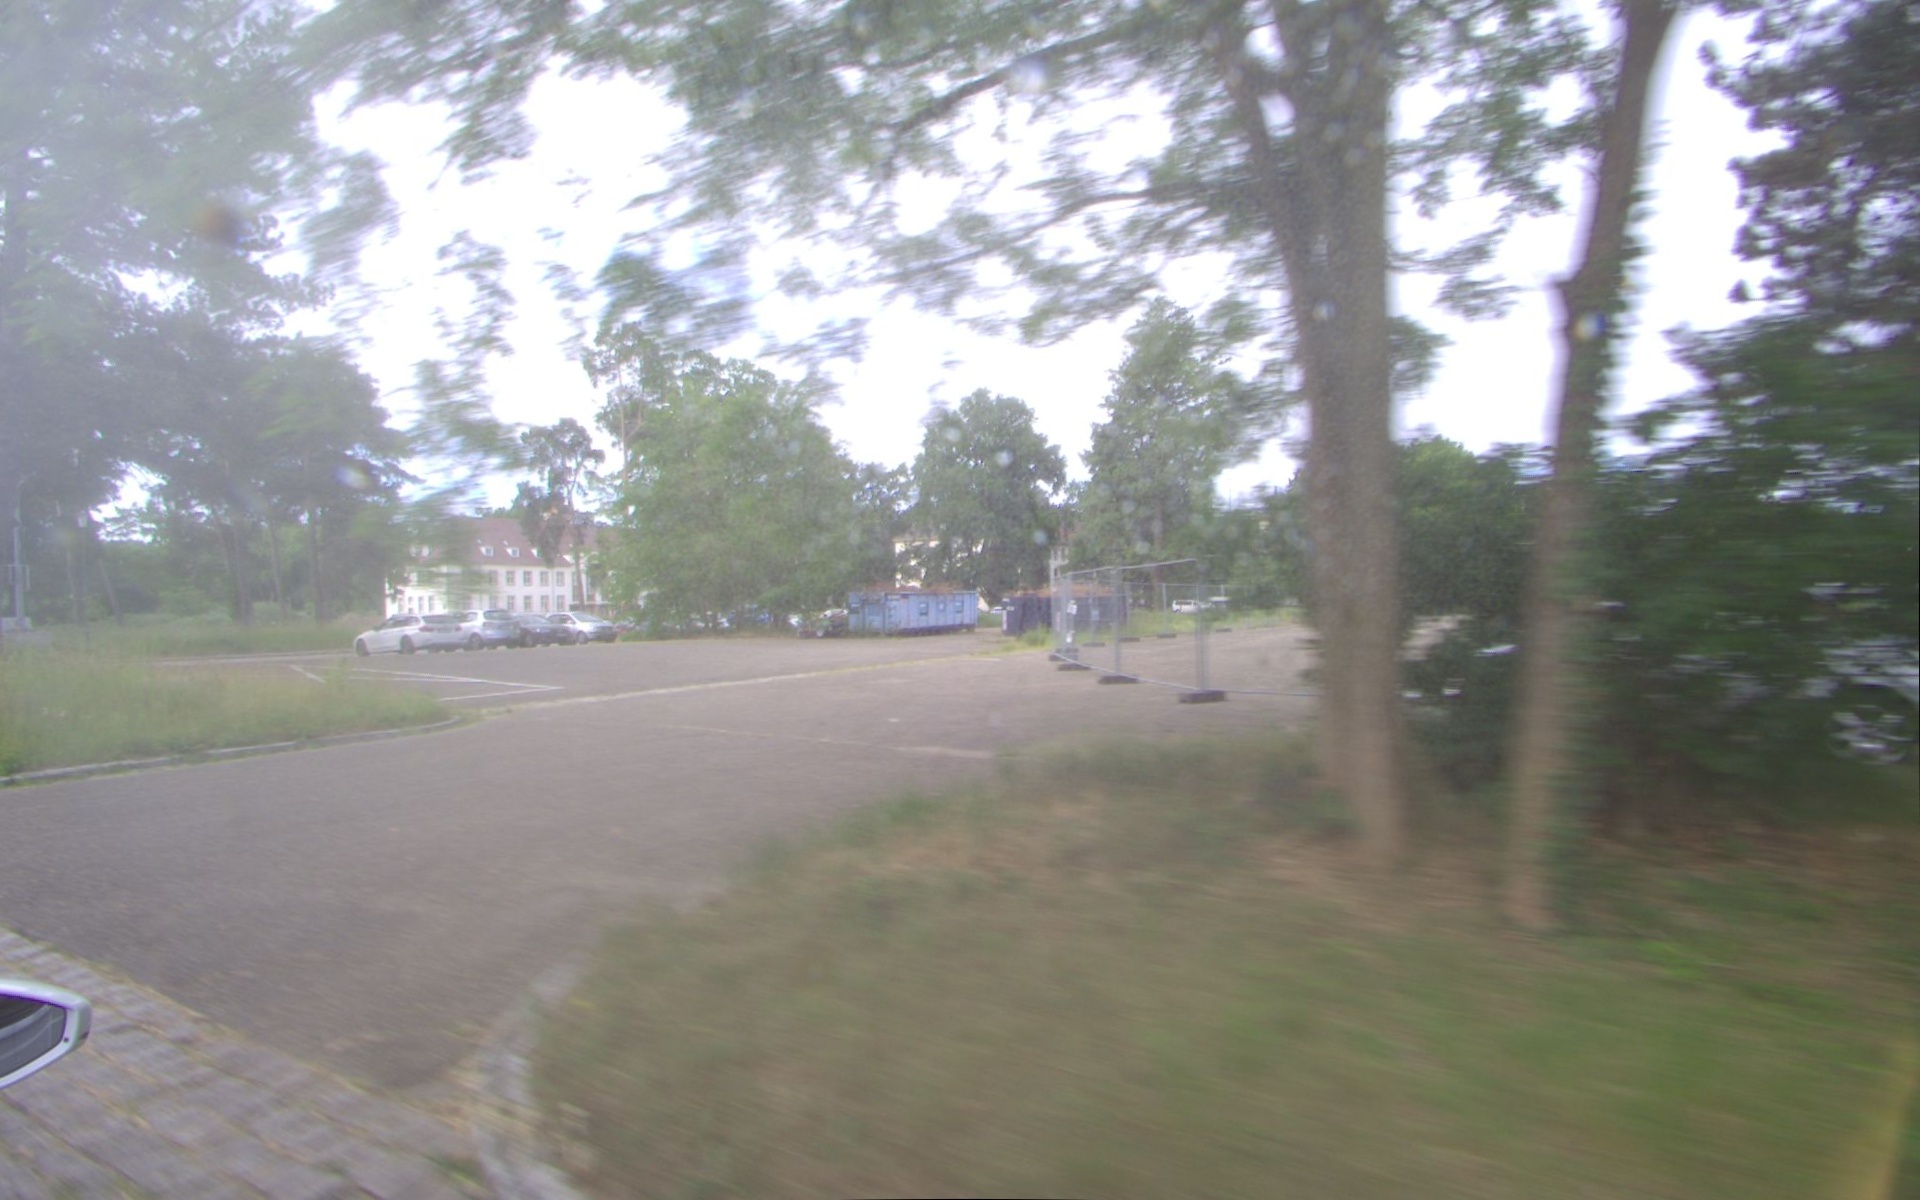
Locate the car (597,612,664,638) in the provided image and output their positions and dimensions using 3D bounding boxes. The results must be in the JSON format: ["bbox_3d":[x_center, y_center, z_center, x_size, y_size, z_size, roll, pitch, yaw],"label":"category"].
[{"bbox_3d":[-19.659,1.470,59.610,4.189,1.492,1.728,-1,0,37],"label":"car"}]

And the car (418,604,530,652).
[{"bbox_3d":[-18.913,1.085,38.963,4.181,1.626,1.780,-4,-1,29],"label":"car"}]

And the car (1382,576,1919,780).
[{"bbox_3d":[6.122,0.595,8.648,4.421,1.470,1.672,-1,0,29],"label":"car"}]

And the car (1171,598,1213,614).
[{"bbox_3d":[31.888,0.832,137.665,5.222,1.980,2.080,-1,-2,32],"label":"car"}]

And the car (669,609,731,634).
[{"bbox_3d":[-16.741,1.383,64.474,4.189,1.521,1.611,-1,0,37],"label":"car"}]

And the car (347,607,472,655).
[{"bbox_3d":[-20.171,1.149,36.637,4.541,1.505,1.847,-4,-3,29],"label":"car"}]

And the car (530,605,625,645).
[{"bbox_3d":[-16.821,1.114,43.978,4.186,1.504,1.697,-4,-1,33],"label":"car"}]

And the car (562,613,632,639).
[{"bbox_3d":[-20.756,1.464,57.207,4.189,1.409,1.728,-1,0,37],"label":"car"}]

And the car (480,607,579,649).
[{"bbox_3d":[-17.815,1.172,41.375,4.186,1.504,1.697,-4,-1,33],"label":"car"}]

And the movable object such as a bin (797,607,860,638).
[{"bbox_3d":[-4.993,0.860,38.064,2.176,1.149,0.960,-1,-1,23],"label":"movable object such as a bin"}]
